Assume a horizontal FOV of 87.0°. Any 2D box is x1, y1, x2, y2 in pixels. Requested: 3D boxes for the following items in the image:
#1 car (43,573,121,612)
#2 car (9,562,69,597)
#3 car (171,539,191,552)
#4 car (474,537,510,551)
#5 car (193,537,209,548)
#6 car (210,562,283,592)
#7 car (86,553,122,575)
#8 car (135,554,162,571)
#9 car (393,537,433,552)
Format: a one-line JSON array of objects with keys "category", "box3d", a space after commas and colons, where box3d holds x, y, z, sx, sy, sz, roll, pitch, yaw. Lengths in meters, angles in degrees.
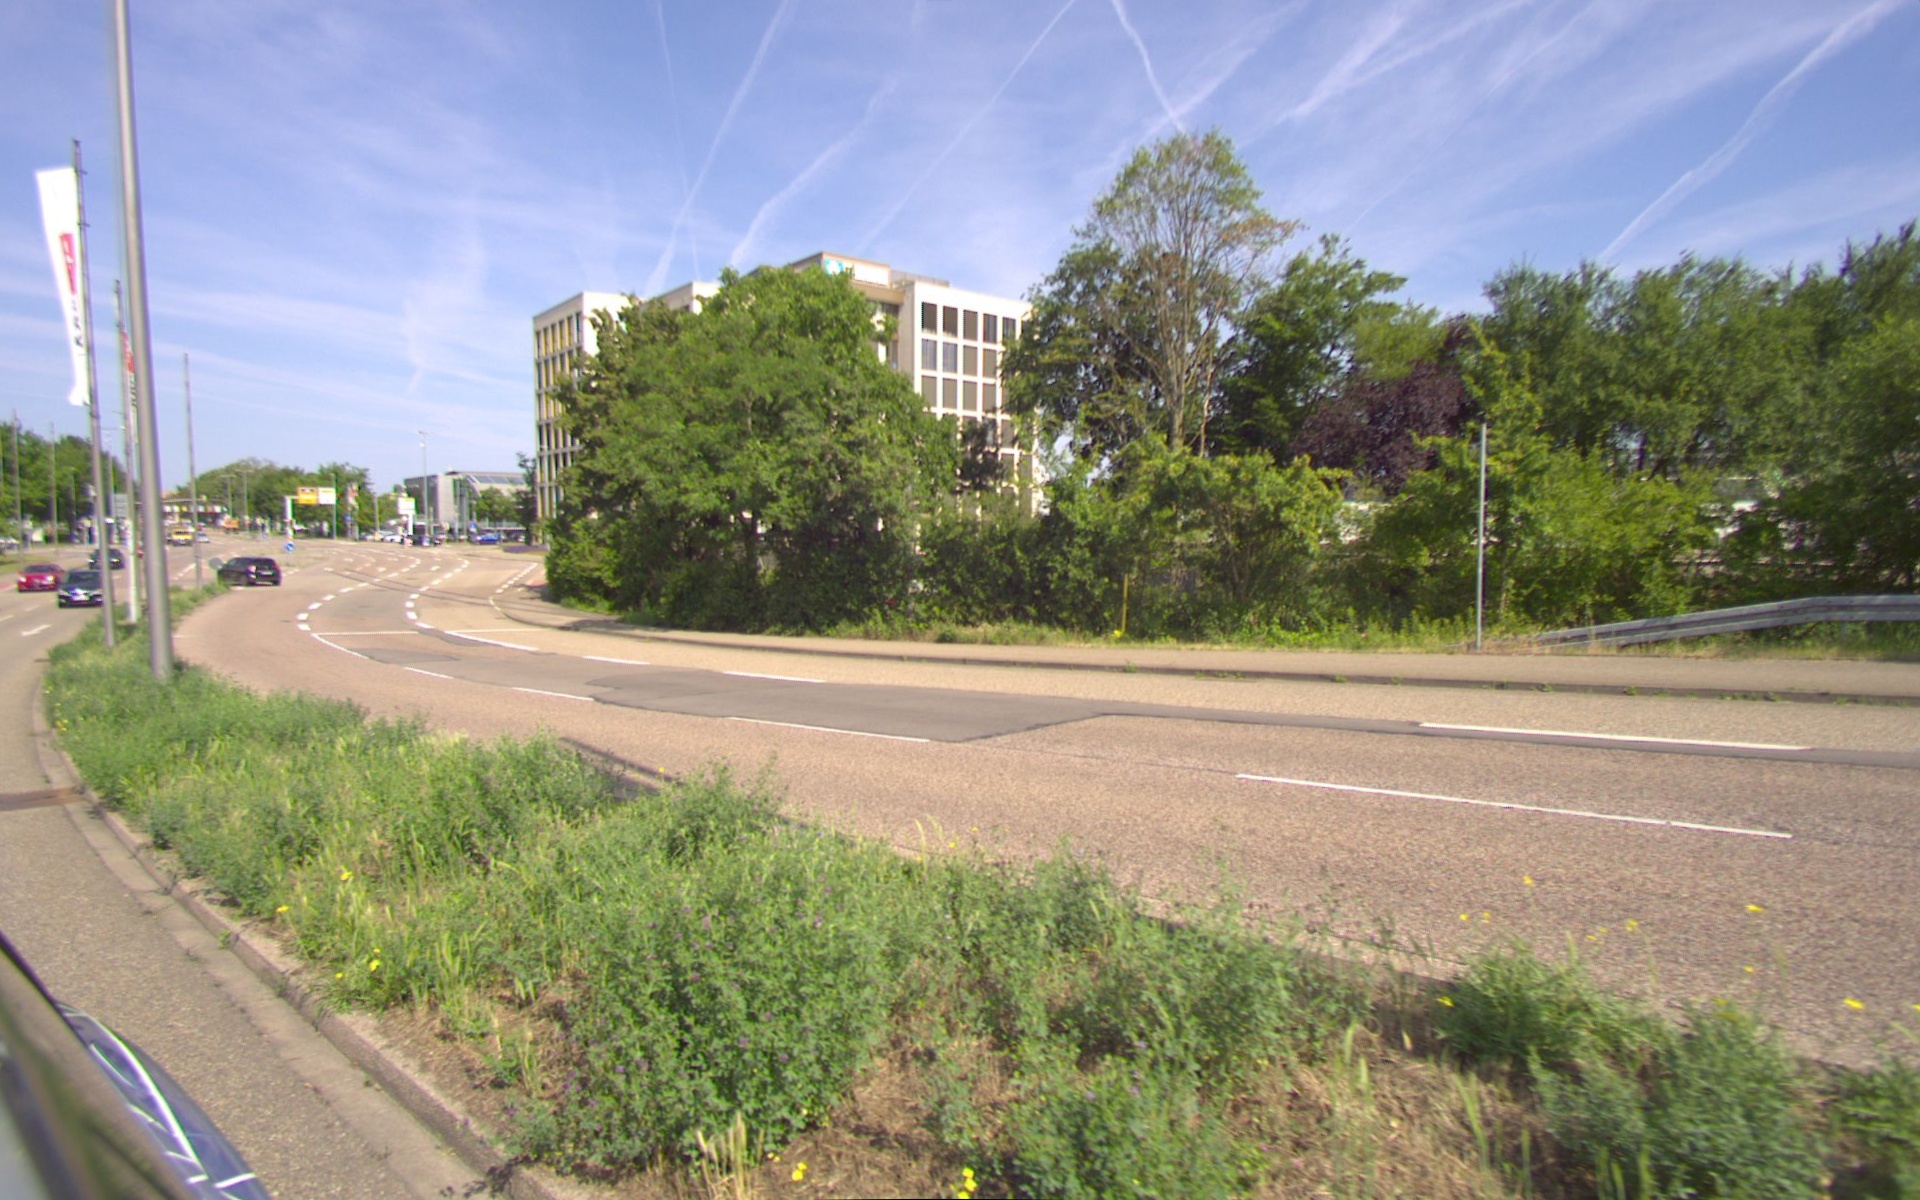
[{"category": "car", "box3d": [-37.318, -0.344, 43.115, 1.819, 1.428, 4.013, -1, 4, -31]}, {"category": "car", "box3d": [-49.197, -1.152, 54.131, 1.749, 1.670, 4.156, -2, 5, -34]}, {"category": "car", "box3d": [-93.276, -6.555, 121.249, 1.797, 1.485, 4.010, -2, 4, -37]}, {"category": "car", "box3d": [-64.800, -7.759, 140.236, 4.322, 1.861, 1.817, -2, 4, -32]}, {"category": "car", "box3d": [-107.310, -8.112, 143.026, 1.797, 1.485, 4.010, -2, 4, -37]}, {"category": "car", "box3d": [-40.439, -1.327, 57.349, 4.129, 1.540, 1.843, 3, 4, 31]}, {"category": "car", "box3d": [-63.515, -2.681, 75.156, 1.797, 1.485, 4.010, -2, 4, -37]}, {"category": "car", "box3d": [-75.552, -3.491, 94.299, 1.797, 1.485, 4.010, -2, 4, -37]}, {"category": "car", "box3d": [-70.372, -7.178, 130.222, 4.320, 1.861, 1.818, -1, 4, -20]}]
